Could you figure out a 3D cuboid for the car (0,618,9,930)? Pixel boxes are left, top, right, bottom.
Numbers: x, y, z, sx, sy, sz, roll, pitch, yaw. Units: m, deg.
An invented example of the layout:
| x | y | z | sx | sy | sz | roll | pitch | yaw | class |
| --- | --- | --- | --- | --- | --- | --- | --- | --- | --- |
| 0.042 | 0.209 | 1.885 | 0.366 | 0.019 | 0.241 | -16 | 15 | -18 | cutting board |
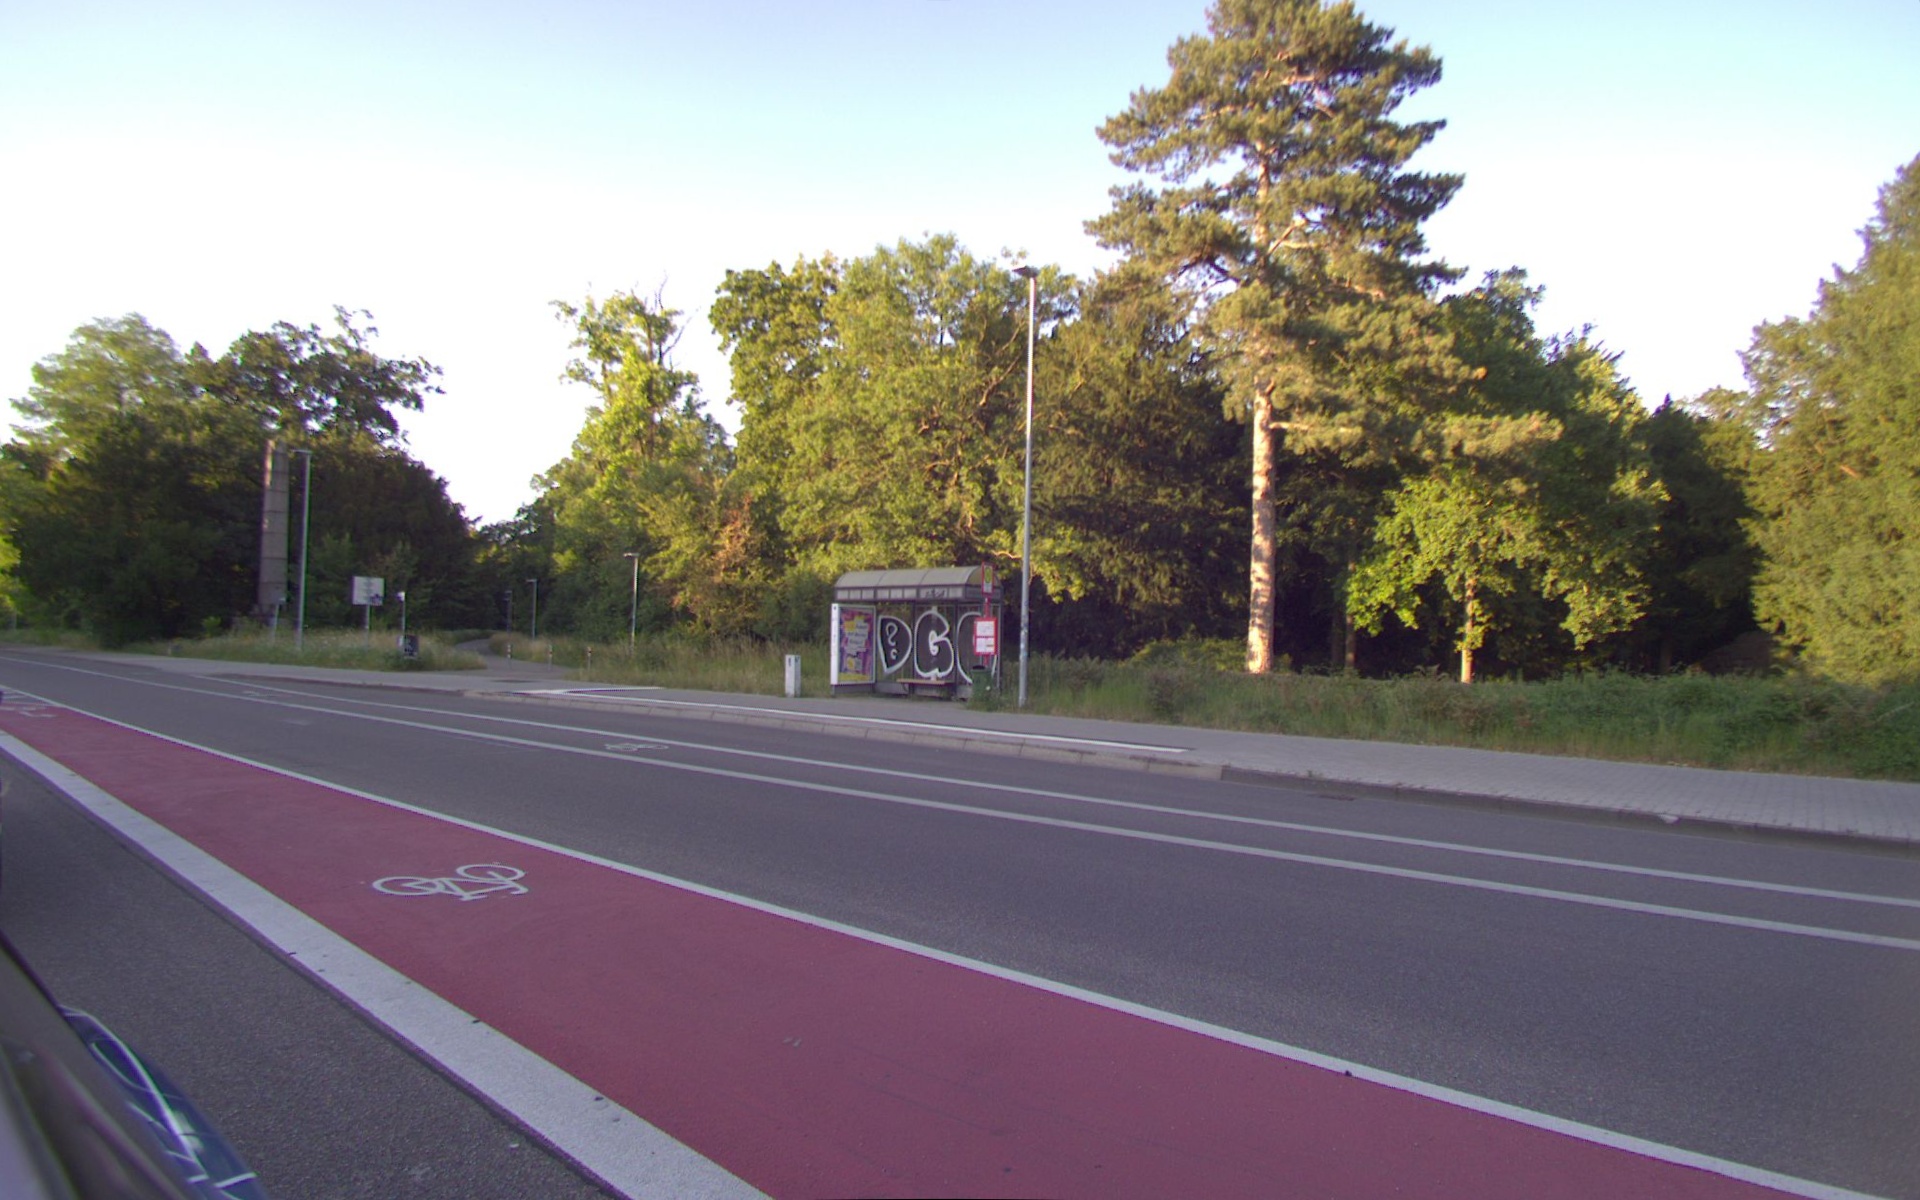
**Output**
| x | y | z | sx | sy | sz | roll | pitch | yaw | class |
| --- | --- | --- | --- | --- | --- | --- | --- | --- | --- |
| -6.900 | 0.836 | 5.543 | 5.208 | 1.410 | 1.795 | -1 | 0 | 39 | car |
